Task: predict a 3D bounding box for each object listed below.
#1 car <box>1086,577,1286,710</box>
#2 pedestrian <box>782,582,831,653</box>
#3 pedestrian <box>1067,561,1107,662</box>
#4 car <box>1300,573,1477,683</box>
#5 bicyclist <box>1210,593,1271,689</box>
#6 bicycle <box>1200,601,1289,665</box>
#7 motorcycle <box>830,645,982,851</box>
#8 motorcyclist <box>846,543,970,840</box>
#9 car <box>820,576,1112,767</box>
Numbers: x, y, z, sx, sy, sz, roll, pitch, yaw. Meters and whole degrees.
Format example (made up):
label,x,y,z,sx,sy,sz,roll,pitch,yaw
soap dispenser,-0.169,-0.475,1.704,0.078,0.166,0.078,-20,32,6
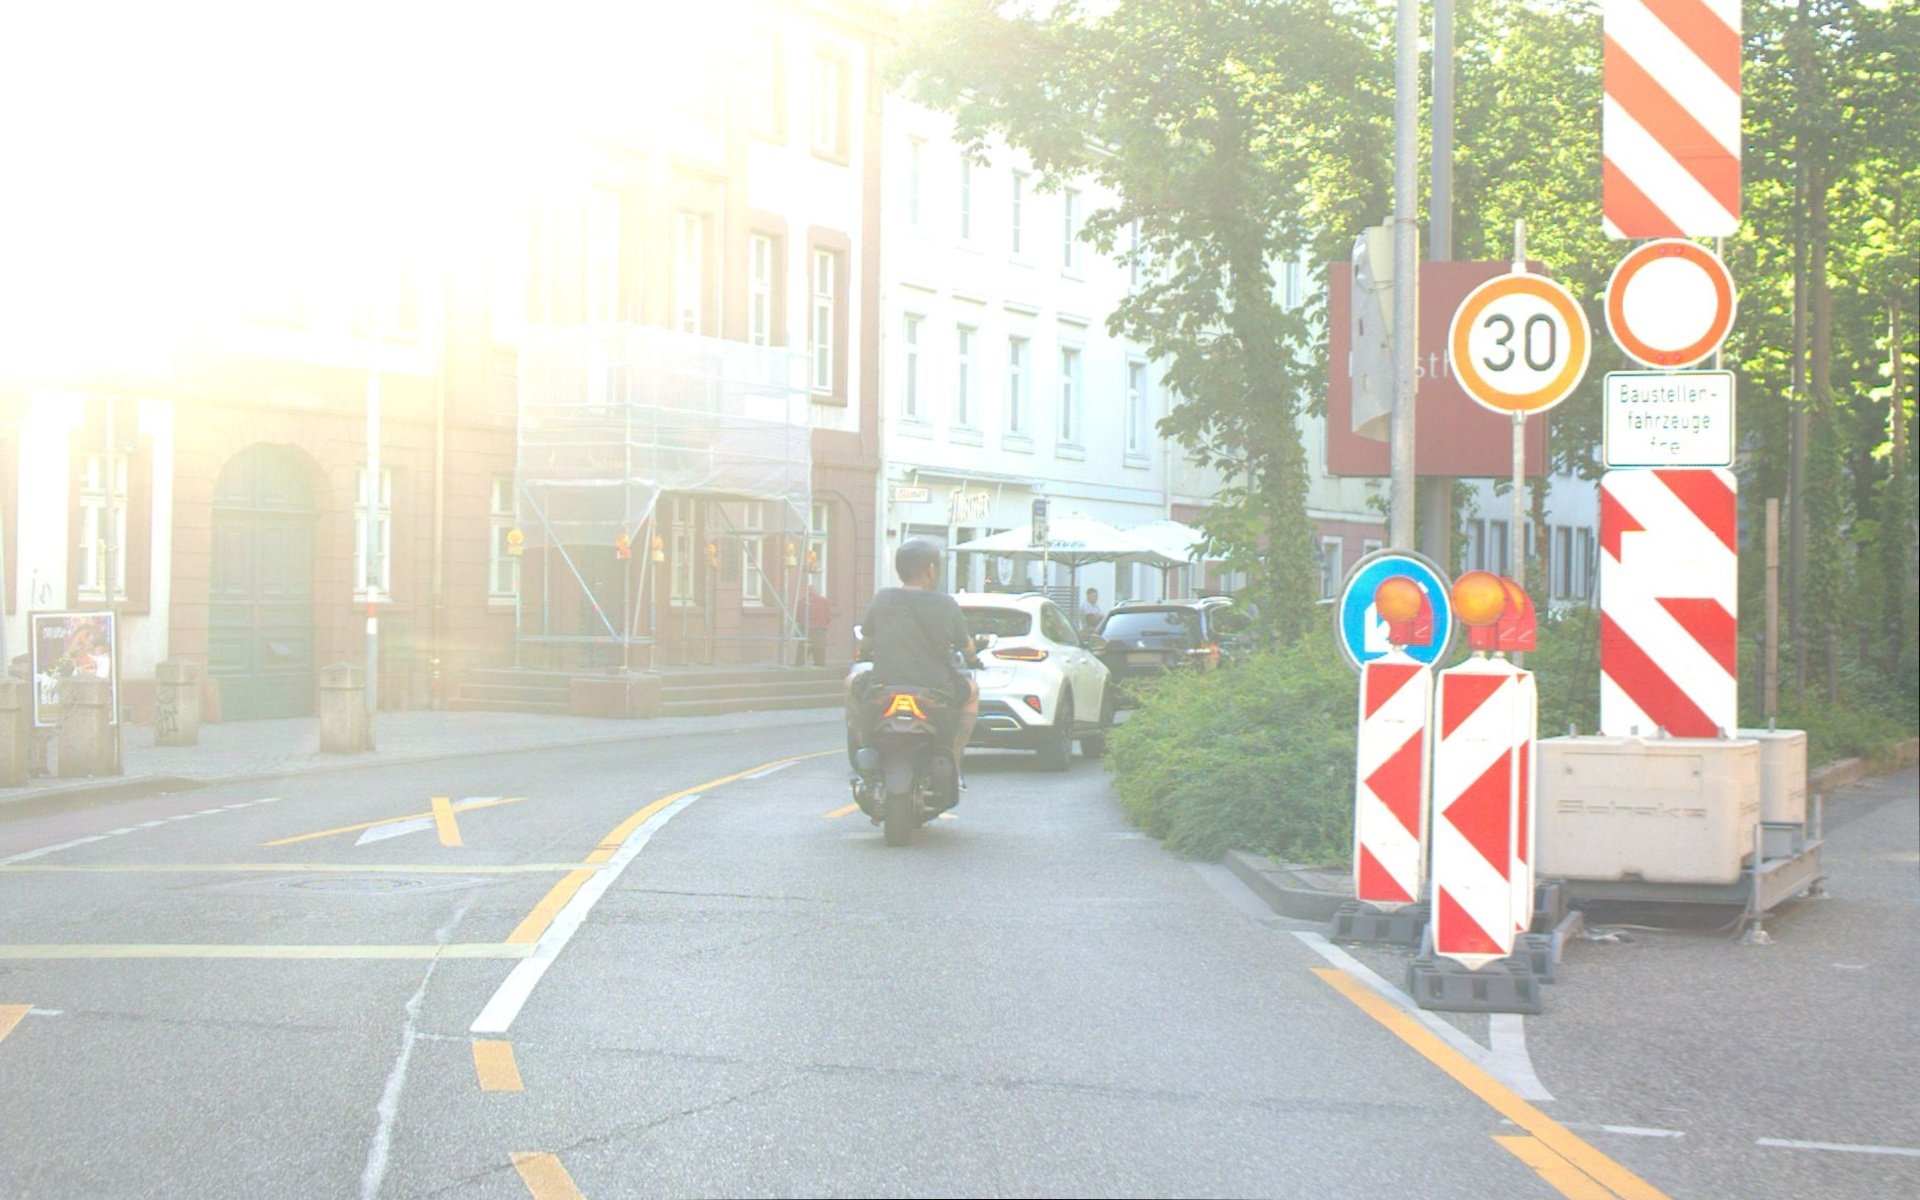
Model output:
label,x,y,z,sx,sy,sz,roll,pitch,yaw
car,2.738,0.493,40.877,1.841,1.459,4.055,1,0,11
pedestrian,-2.297,0.265,51.439,0.537,1.049,0.551,1,0,18
pedestrian,2.245,0.210,60.577,0.438,1.769,0.596,0,0,36
car,7.061,0.448,56.341,1.842,1.707,4.052,1,0,22
bicyclist,4.722,0.687,57.848,0.745,1.578,0.794,1,0,26
bicycle,4.800,0.553,57.990,0.772,1.059,2.075,0,0,27
motorcycle,-0.294,0.812,19.413,0.796,1.062,1.725,1,0,0
motorcyclist,-0.295,0.510,19.581,0.657,1.645,0.651,1,0,0
car,0.133,0.569,29.501,1.851,1.475,4.056,1,0,9
